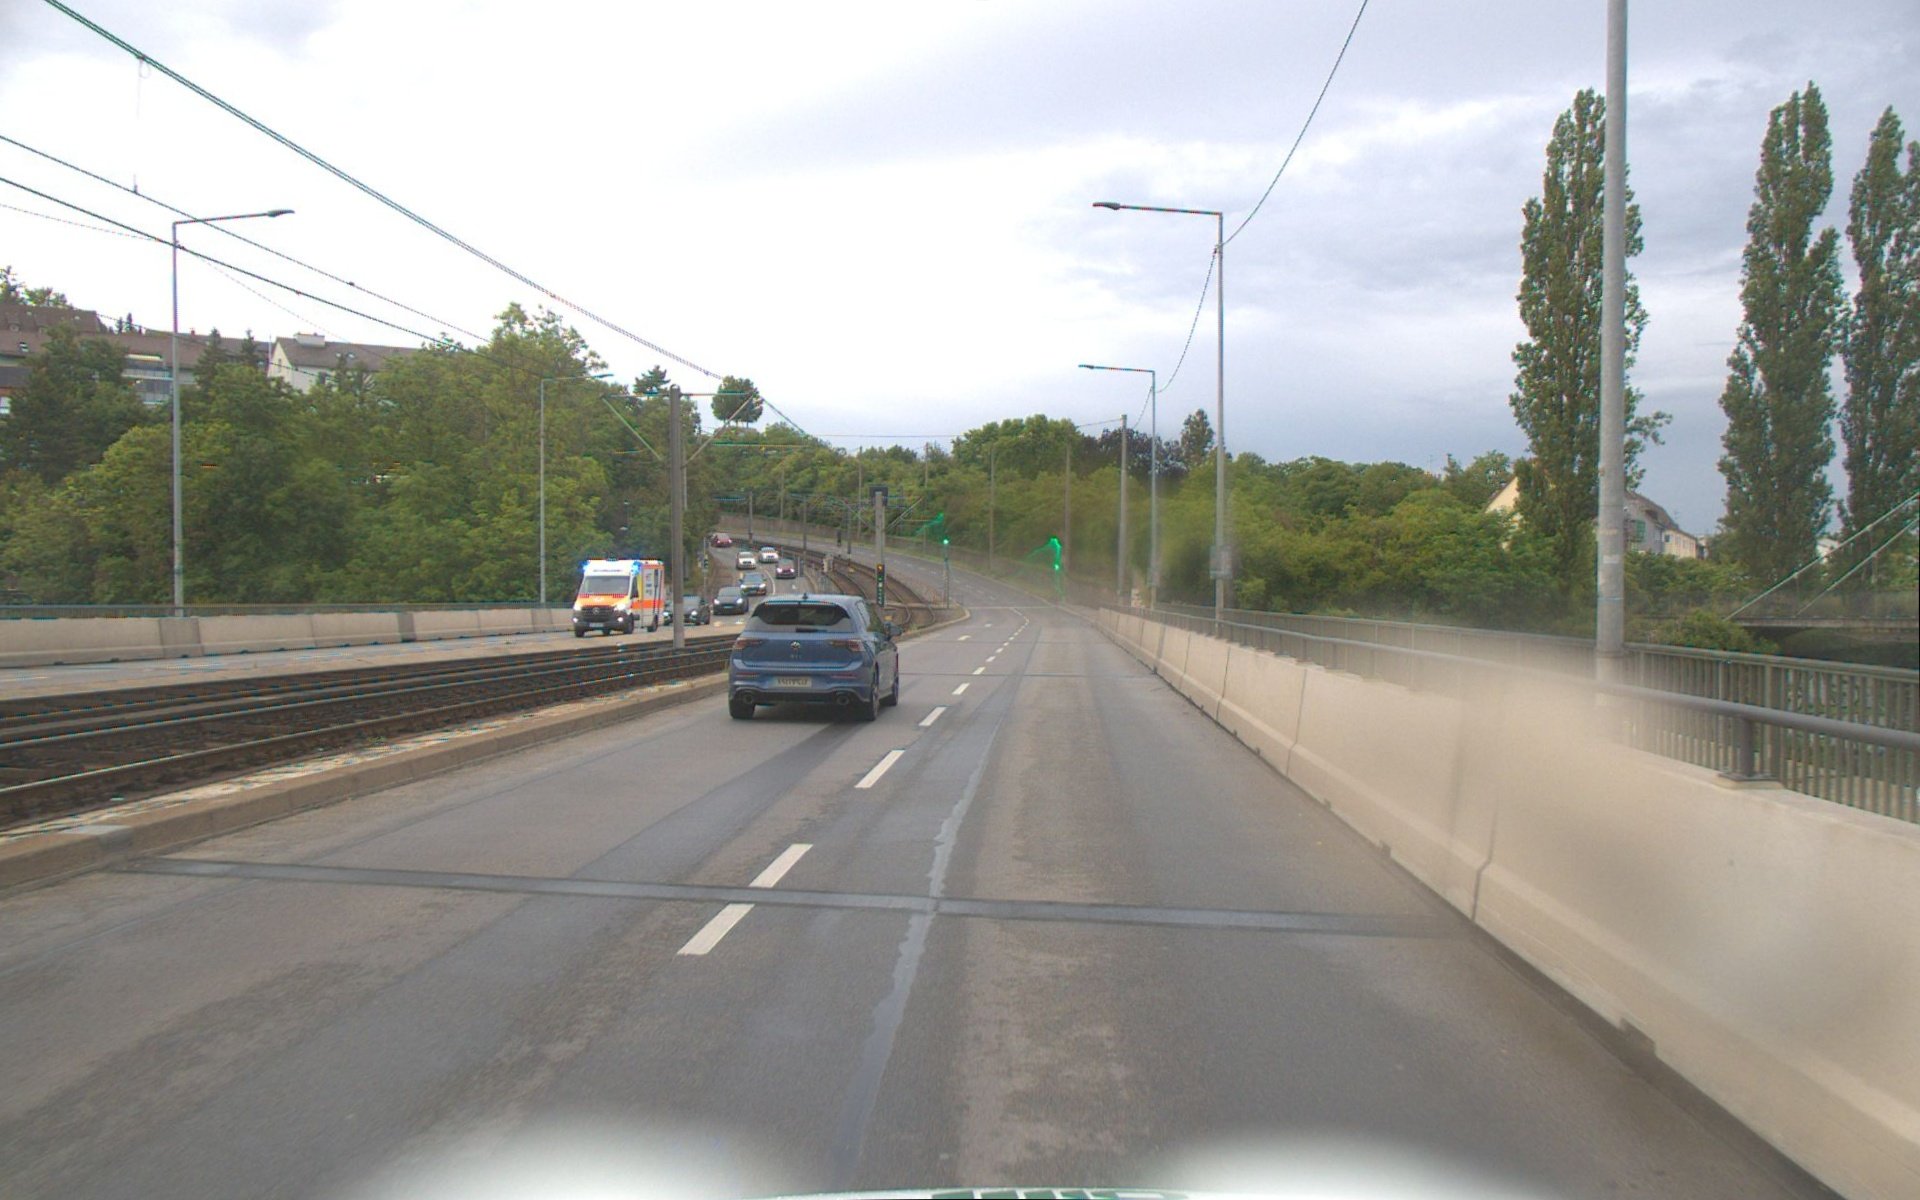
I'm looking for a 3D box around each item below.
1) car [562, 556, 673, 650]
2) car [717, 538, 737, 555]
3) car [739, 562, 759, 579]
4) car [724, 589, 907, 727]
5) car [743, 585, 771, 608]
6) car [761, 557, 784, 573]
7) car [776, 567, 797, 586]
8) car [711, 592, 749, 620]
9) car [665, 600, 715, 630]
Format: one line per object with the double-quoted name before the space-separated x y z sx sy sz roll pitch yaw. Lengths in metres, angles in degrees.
"car" -12.305 0.106 59.919 2.339 3.170 6.359 1 0 3
"car" -28.129 -6.490 199.667 1.817 1.623 4.719 -3 8 -14
"car" -20.042 -2.759 157.161 1.787 1.541 4.521 0 0 -8
"car" -1.699 0.656 20.663 1.727 1.527 4.001 1 0 3
"car" -15.212 -0.228 123.761 1.932 1.625 5.173 -1 -1 -9
"car" -18.948 -3.564 167.037 1.700 1.462 4.476 -1 -1 -13
"car" -14.917 -2.008 142.295 1.572 1.519 3.010 -2 2 -11
"car" -14.308 0.372 103.115 1.858 1.625 4.731 -1 1 -2
"car" -13.790 0.749 84.629 1.779 1.461 4.740 0 1 0
